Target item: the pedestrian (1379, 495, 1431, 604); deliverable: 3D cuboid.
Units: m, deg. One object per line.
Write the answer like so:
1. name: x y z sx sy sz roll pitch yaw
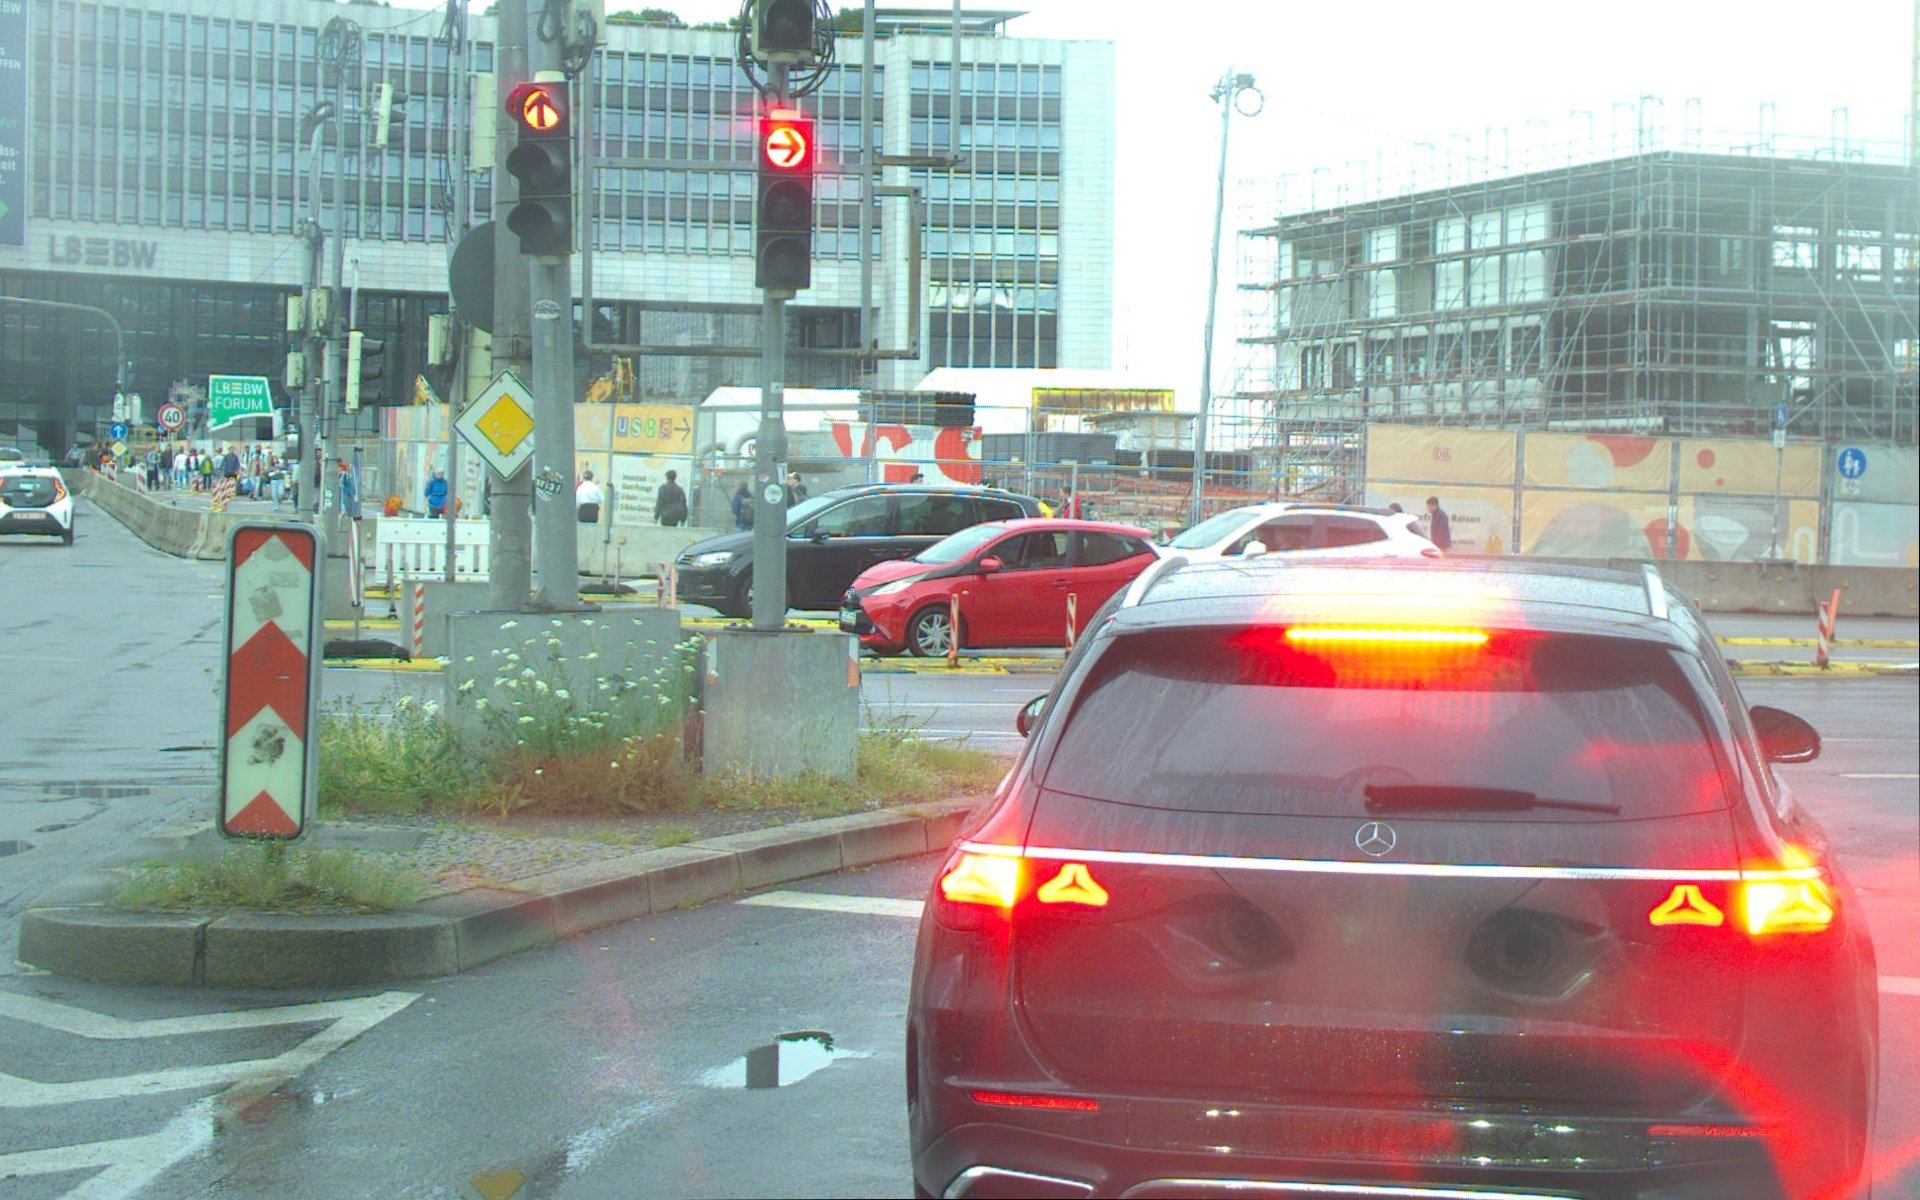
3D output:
1. pedestrian: 7.829 -0.885 60.481 0.655 1.895 0.632 2 0 -14

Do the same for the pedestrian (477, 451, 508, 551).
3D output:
1. pedestrian: -8.933 -1.892 65.687 0.361 1.891 0.576 2 0 -26

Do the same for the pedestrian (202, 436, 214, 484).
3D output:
1. pedestrian: -30.092 -5.583 137.553 0.361 1.891 0.576 2 0 -18

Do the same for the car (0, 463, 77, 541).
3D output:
1. car: -18.867 -1.971 69.585 1.780 1.468 3.560 2 0 -16

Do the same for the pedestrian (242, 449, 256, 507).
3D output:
1. pedestrian: -23.464 -4.012 113.410 0.361 1.891 0.576 2 0 -14

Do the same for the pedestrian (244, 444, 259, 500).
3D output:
1. pedestrian: -23.978 -4.329 116.358 0.361 1.891 0.576 2 0 -18

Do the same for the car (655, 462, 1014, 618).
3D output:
1. car: -1.560 -0.721 42.243 3.985 1.728 2.001 2 0 -16

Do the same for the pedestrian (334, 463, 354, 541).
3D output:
1. pedestrian: -15.130 -2.406 84.425 0.361 1.891 0.576 2 0 -18

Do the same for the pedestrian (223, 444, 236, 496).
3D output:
1. pedestrian: -27.104 -4.830 127.510 0.361 1.891 0.576 2 0 -18

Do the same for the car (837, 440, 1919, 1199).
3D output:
1. car: 0.916 0.533 7.676 1.891 1.538 3.993 2 0 5

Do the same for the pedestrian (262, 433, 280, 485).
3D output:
1. pedestrian: -25.679 -5.247 128.180 0.519 1.891 0.576 2 0 -18

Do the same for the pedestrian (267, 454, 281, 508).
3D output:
1. pedestrian: -24.356 -4.204 122.041 0.361 1.891 0.576 2 0 -18

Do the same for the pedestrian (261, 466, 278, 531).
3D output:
1. pedestrian: -20.047 -2.944 99.818 0.361 1.891 0.576 2 0 -18

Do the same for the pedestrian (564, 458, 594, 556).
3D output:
1. pedestrian: -7.420 -1.810 66.930 0.361 1.891 0.576 2 0 -22

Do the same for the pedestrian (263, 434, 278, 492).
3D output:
1. pedestrian: -22.696 -4.503 113.226 0.361 1.891 0.576 2 0 -18

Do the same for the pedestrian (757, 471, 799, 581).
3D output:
1. pedestrian: -3.153 -1.281 59.660 0.575 1.891 0.362 2 0 15

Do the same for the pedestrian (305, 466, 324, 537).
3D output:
1. pedestrian: -17.279 -2.632 91.984 0.361 1.891 0.576 2 0 -18

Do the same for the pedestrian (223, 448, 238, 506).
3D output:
1. pedestrian: -23.883 -4.024 112.517 0.361 1.891 0.576 2 0 -18

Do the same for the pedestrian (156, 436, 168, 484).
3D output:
1. pedestrian: -32.351 -5.670 139.450 0.361 1.891 0.576 2 0 -18

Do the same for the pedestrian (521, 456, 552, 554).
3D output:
1. pedestrian: -8.209 -1.837 66.638 0.361 1.891 0.576 2 0 -25

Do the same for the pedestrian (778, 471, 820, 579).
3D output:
1. pedestrian: -2.854 -1.332 60.946 0.576 1.891 0.361 2 0 36

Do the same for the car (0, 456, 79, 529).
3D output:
1. car: -24.361 -2.797 90.198 1.993 1.760 4.420 2 0 -19

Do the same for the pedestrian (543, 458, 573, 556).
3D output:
1. pedestrian: -7.808 -1.805 66.788 0.361 1.891 0.576 1 0 -25

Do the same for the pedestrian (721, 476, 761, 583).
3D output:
1. pedestrian: -3.923 -1.263 61.523 0.575 1.891 0.362 2 0 13

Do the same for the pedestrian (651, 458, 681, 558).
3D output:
1. pedestrian: -5.576 -1.742 65.211 0.361 1.891 0.576 2 0 -22

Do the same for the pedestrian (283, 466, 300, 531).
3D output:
1. pedestrian: -19.451 -2.952 100.073 0.361 1.891 0.576 2 0 -18

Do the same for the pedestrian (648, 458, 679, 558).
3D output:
1. pedestrian: -5.631 -1.743 65.279 0.361 1.891 0.576 2 0 -22

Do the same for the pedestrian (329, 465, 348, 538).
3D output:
1. pedestrian: -16.379 -2.588 90.548 0.361 1.891 0.576 2 0 -18

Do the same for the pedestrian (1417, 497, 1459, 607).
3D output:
1. pedestrian: 8.308 -0.830 59.779 0.574 1.891 0.362 2 0 -11

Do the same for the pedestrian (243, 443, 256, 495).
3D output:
1. pedestrian: -26.389 -4.860 127.727 0.361 1.891 0.576 2 0 -18

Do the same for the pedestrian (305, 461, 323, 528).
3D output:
1. pedestrian: -18.455 -3.000 98.250 0.361 1.891 0.576 2 0 -18

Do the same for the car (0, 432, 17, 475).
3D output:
1. car: -39.598 -6.015 140.229 1.727 1.634 3.436 2 3 -22

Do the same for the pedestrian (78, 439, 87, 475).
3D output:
1. pedestrian: -46.271 -7.537 181.262 0.361 1.891 0.576 2 0 -15

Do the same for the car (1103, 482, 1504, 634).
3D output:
1. car: 3.912 -0.469 39.303 4.039 1.547 2.001 2 0 -19

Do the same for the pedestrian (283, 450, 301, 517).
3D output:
1. pedestrian: -19.077 -3.329 98.202 0.361 1.891 0.576 2 0 -18

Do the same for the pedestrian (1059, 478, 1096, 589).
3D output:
1. pedestrian: 2.021 -1.149 59.244 0.574 1.891 0.362 2 0 2

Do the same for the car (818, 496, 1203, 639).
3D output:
1. car: 0.503 -0.324 35.111 3.532 1.300 1.666 2 0 -19

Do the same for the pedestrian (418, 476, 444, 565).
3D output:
1. pedestrian: -11.412 -1.715 74.135 0.361 1.891 0.576 2 0 -22

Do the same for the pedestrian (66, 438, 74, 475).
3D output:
1. pedestrian: -46.853 -7.556 181.019 0.361 1.891 0.576 2 0 -15
